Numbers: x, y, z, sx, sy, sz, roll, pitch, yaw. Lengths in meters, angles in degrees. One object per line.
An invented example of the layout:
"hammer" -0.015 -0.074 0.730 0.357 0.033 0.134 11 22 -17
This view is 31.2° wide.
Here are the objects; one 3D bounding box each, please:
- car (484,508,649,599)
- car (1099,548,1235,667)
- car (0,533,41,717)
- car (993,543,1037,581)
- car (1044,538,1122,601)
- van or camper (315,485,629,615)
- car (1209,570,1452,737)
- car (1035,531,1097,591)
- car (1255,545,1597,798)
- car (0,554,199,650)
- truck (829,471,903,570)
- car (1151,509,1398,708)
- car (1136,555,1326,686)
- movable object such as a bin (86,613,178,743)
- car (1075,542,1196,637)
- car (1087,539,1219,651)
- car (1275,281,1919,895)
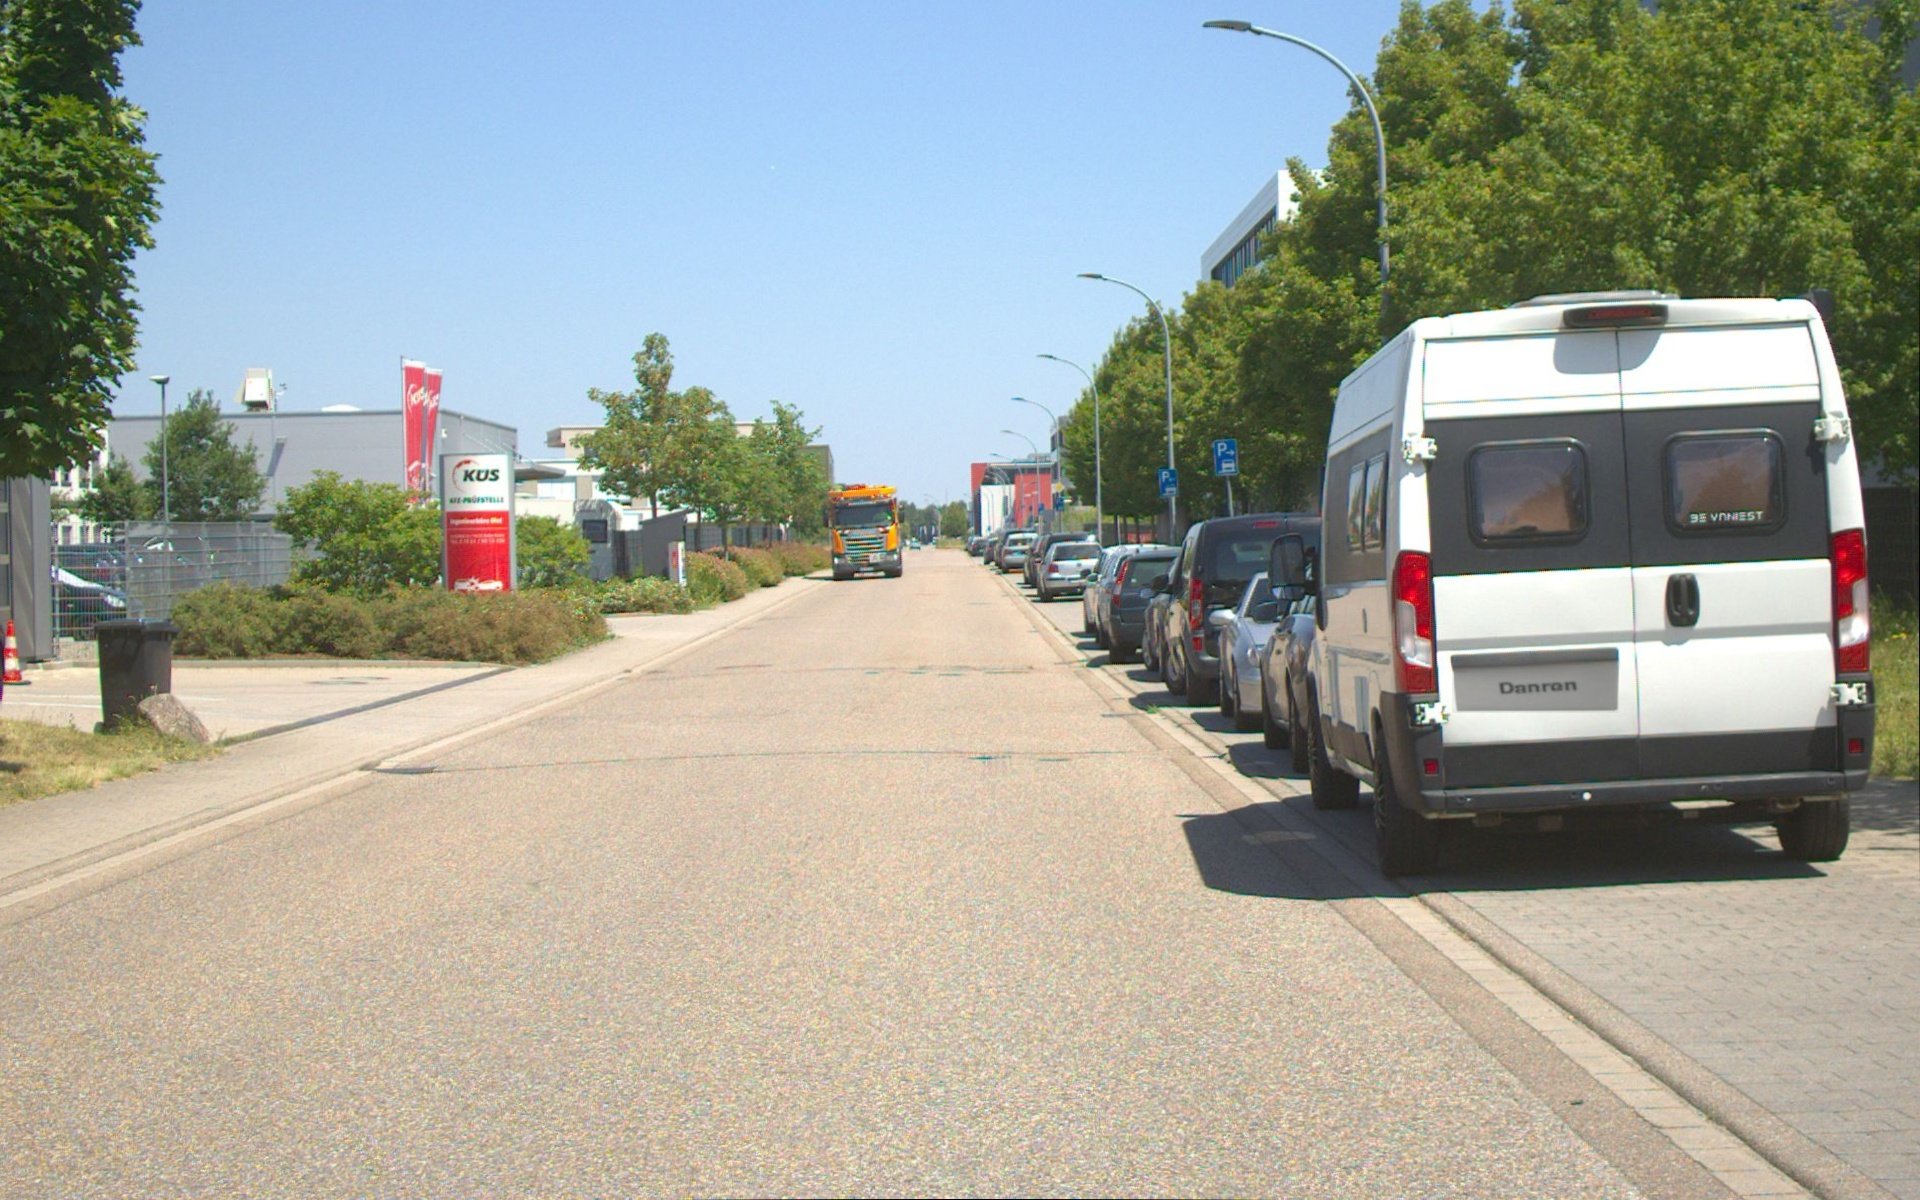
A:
"car" -11.626 -1.386 101.906 4.714 2.577 2.000 -1 1 -4
"car" 2.866 0.066 46.801 1.709 1.499 4.705 -1 1 5
"car" -10.137 0.275 31.264 1.994 1.729 4.913 1 2 3
"car" 2.076 -1.449 130.602 1.585 1.405 3.500 -1 1 0
"car" 2.975 -0.748 83.637 1.718 1.445 3.646 -2 1 0
"van or camper" -12.081 -1.246 85.583 7.384 3.027 2.790 -1 1 -1
"car" 3.084 0.421 29.314 1.711 1.283 4.115 -1 0 2
"car" 3.108 -1.166 101.544 1.722 1.688 3.984 -1 1 1
"car" 3.077 0.408 23.540 1.828 1.488 4.478 -2 1 2
"car" -14.792 0.022 58.275 3.500 1.546 1.558 -1 1 -5
"truck" -3.468 -3.002 128.839 2.448 3.501 8.273 -2 1 0
"car" 3.066 0.058 34.359 1.993 1.819 4.354 -1 1 -1
"car" 3.152 0.205 40.860 1.850 1.426 4.713 -1 1 0
"movable object such as a bin" -6.980 0.652 28.988 0.579 1.062 0.765 1 1 0
"car" 2.941 -0.203 58.223 1.636 1.464 3.746 -2 1 -3
"car" 2.912 -0.117 52.636 1.748 1.556 4.506 -2 1 1
"car" 2.953 -0.097 17.395 2.267 2.489 6.152 -2 1 2
